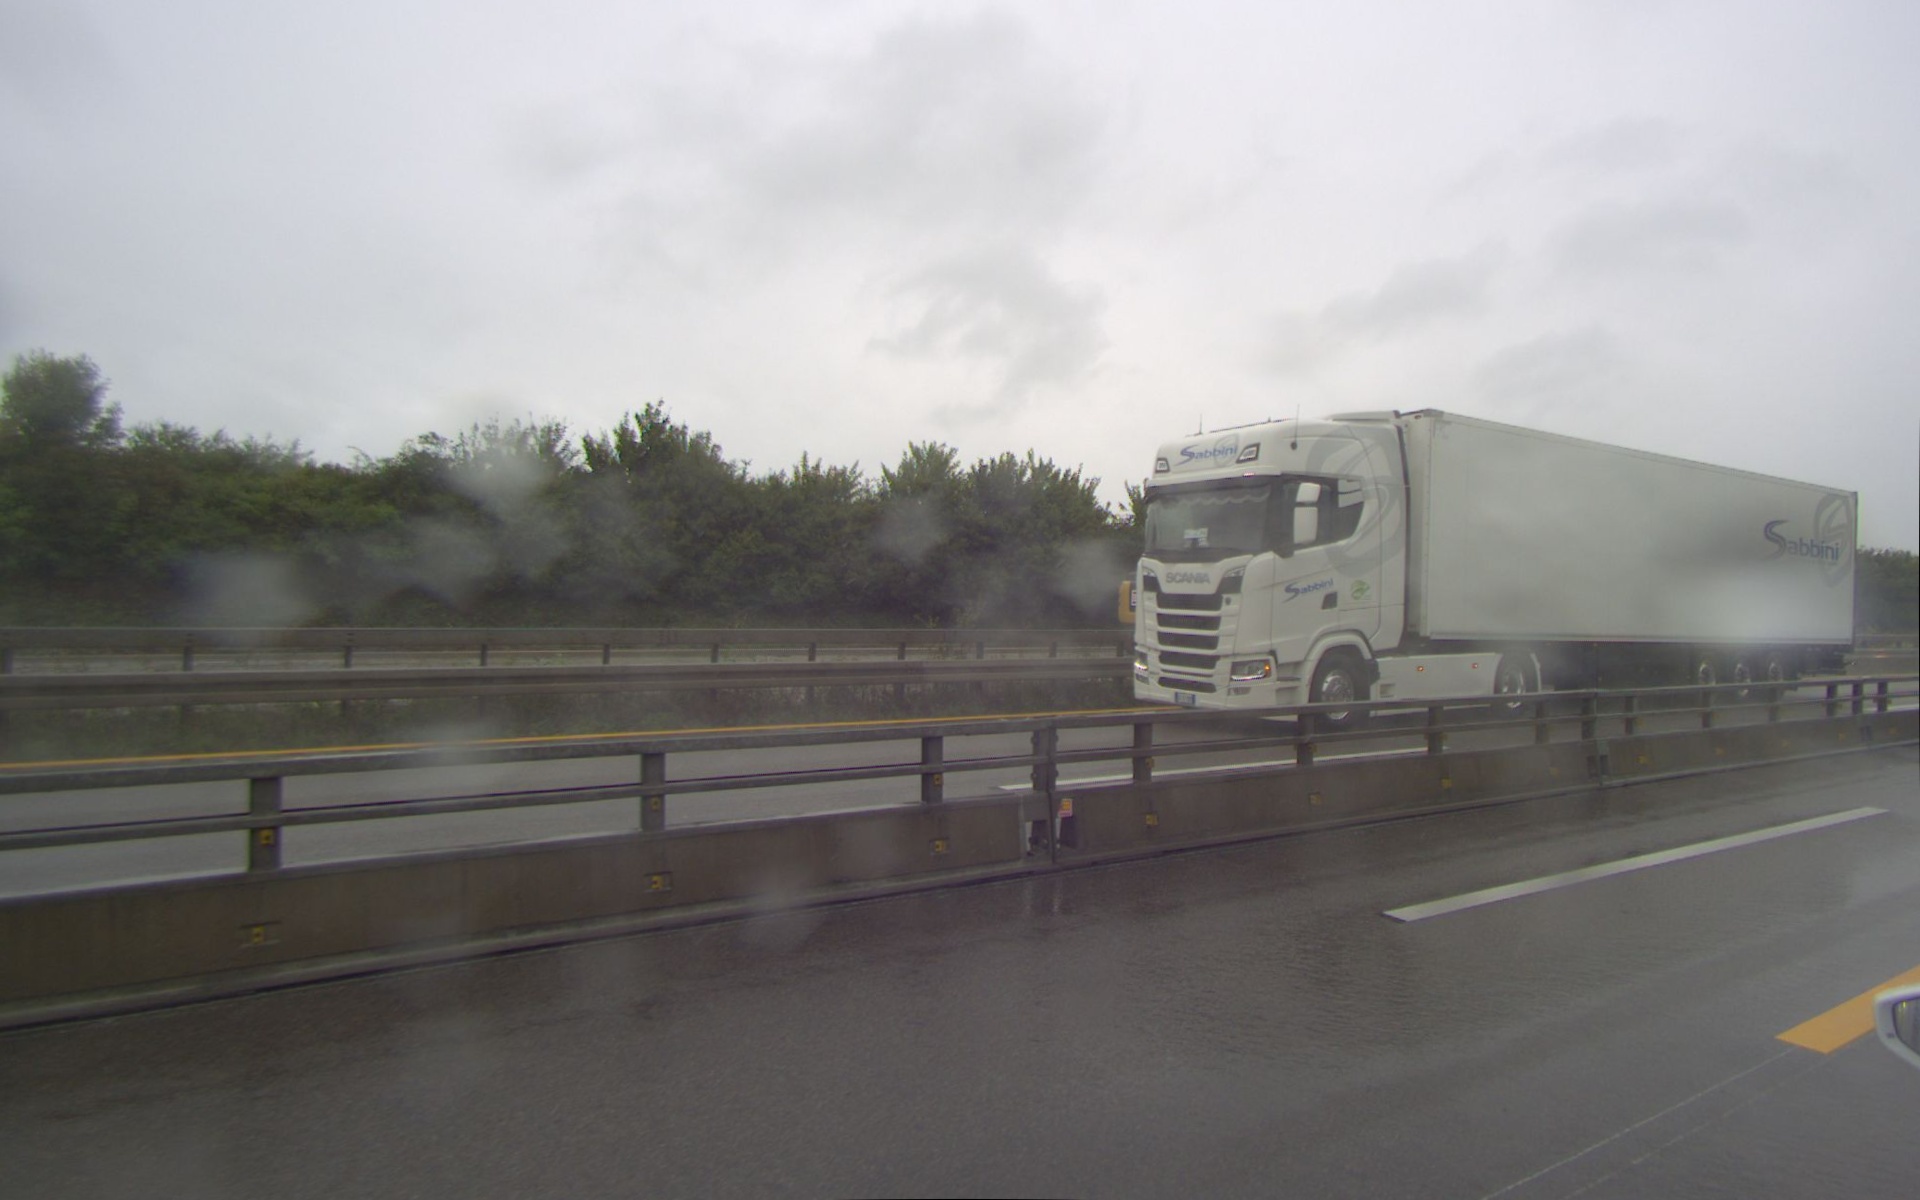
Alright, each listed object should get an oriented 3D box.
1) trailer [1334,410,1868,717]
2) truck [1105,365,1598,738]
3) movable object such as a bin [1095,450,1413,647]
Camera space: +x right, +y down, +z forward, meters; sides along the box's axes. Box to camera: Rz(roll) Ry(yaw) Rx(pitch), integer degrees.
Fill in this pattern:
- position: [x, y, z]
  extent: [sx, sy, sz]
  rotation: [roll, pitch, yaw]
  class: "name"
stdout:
- position: [11.909, -0.435, 17.901]
  extent: [12.076, 4.144, 2.893]
  rotation: [1, 0, -31]
  class: "trailer"
- position: [5.646, -0.505, 14.174]
  extent: [6.845, 4.156, 2.870]
  rotation: [1, 0, -31]
  class: "truck"
- position: [10.445, -1.487, 35.230]
  extent: [10.912, 5.994, 4.152]
  rotation: [2, 1, -29]
  class: "movable object such as a bin"
